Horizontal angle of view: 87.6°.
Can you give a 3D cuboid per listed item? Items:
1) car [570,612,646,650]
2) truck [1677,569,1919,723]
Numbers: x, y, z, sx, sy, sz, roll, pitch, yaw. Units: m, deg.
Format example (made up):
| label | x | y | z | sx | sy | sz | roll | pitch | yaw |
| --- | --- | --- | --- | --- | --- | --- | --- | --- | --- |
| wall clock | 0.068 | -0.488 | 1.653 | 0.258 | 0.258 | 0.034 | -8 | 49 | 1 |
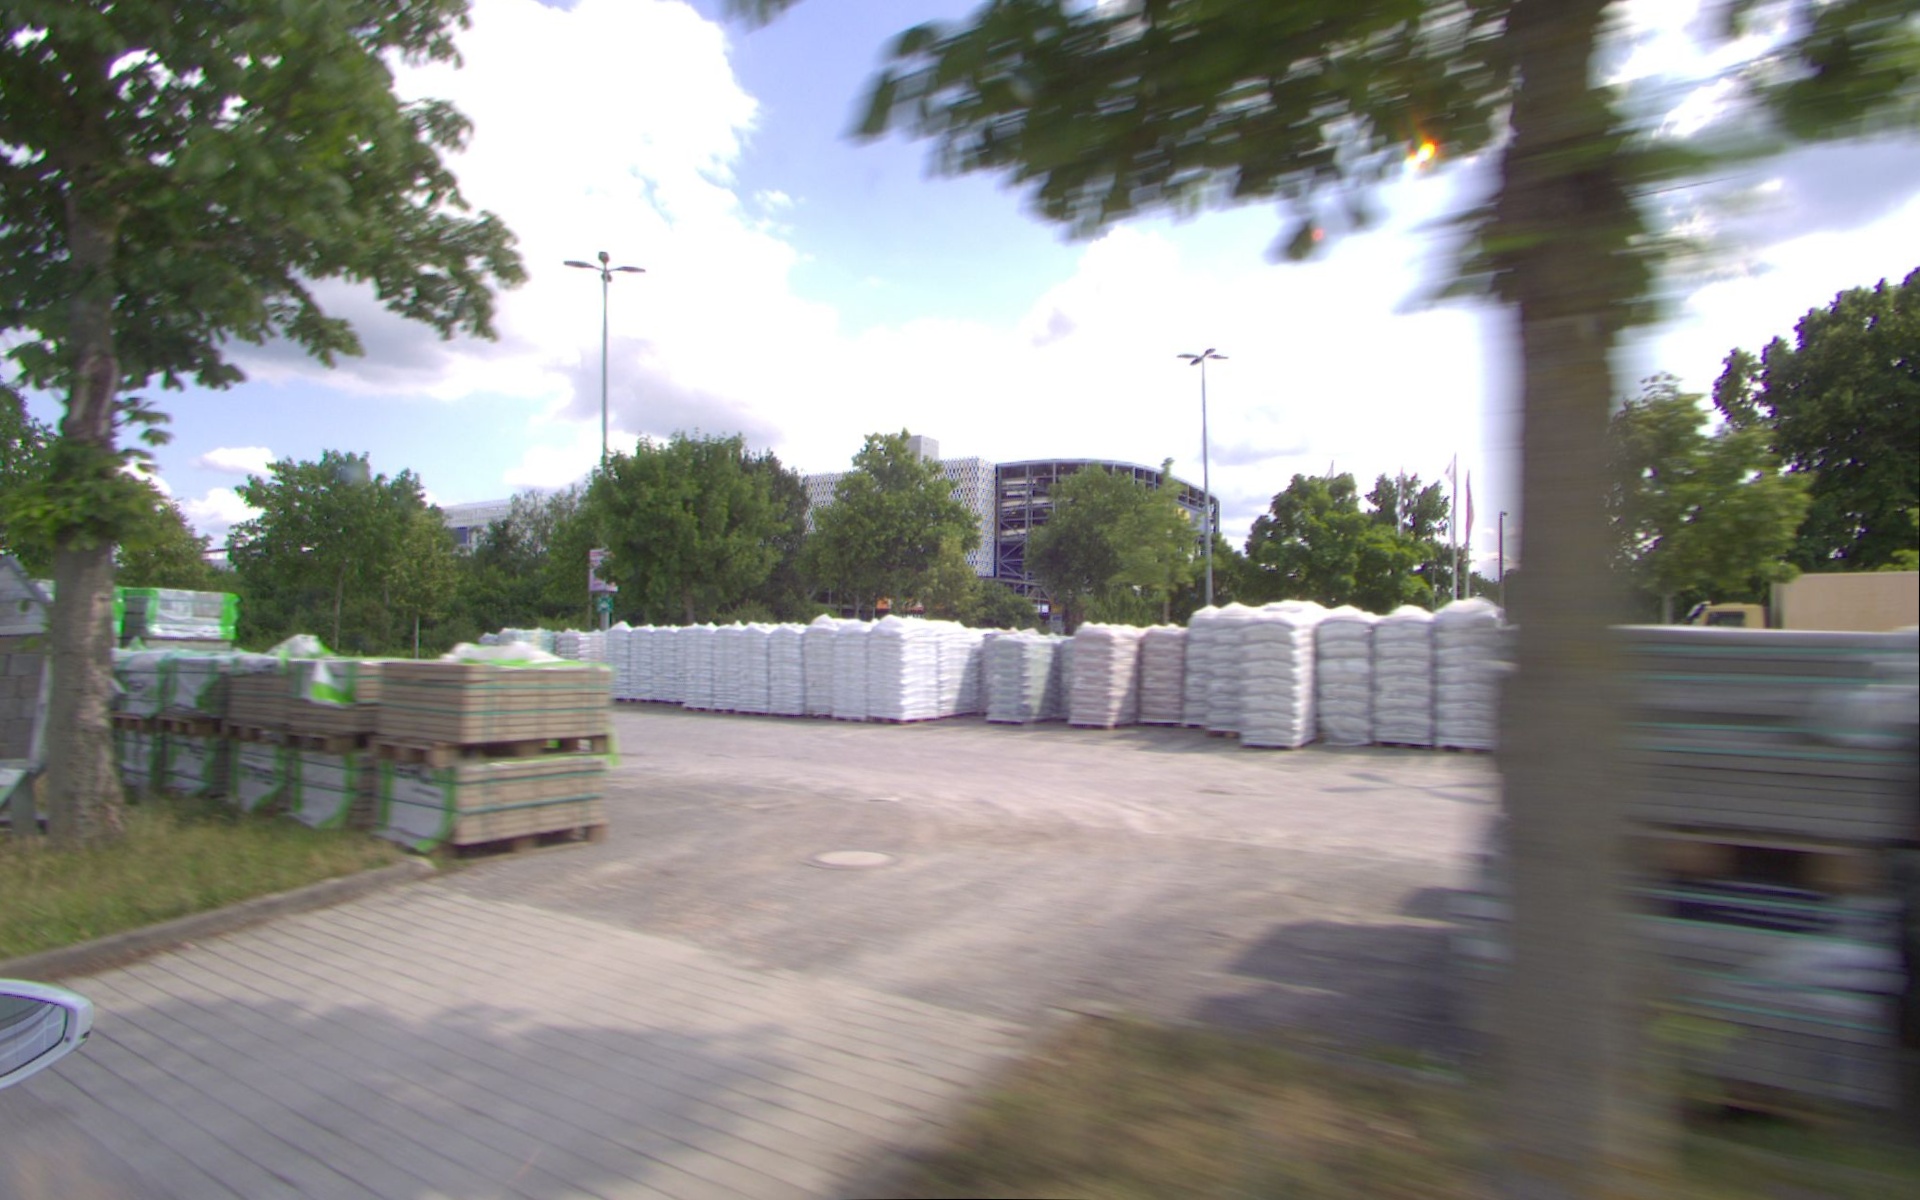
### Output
| label | x | y | z | sx | sy | sz | roll | pitch | yaw |
| --- | --- | --- | --- | --- | --- | --- | --- | --- | --- |
| car | -19.923 | 1.756 | 56.829 | 3.931 | 2.039 | 1.996 | 2 | -2 | -19 |
| truck | 23.375 | 1.135 | 24.880 | 8.912 | 3.645 | 2.715 | 0 | -1 | 34 |
